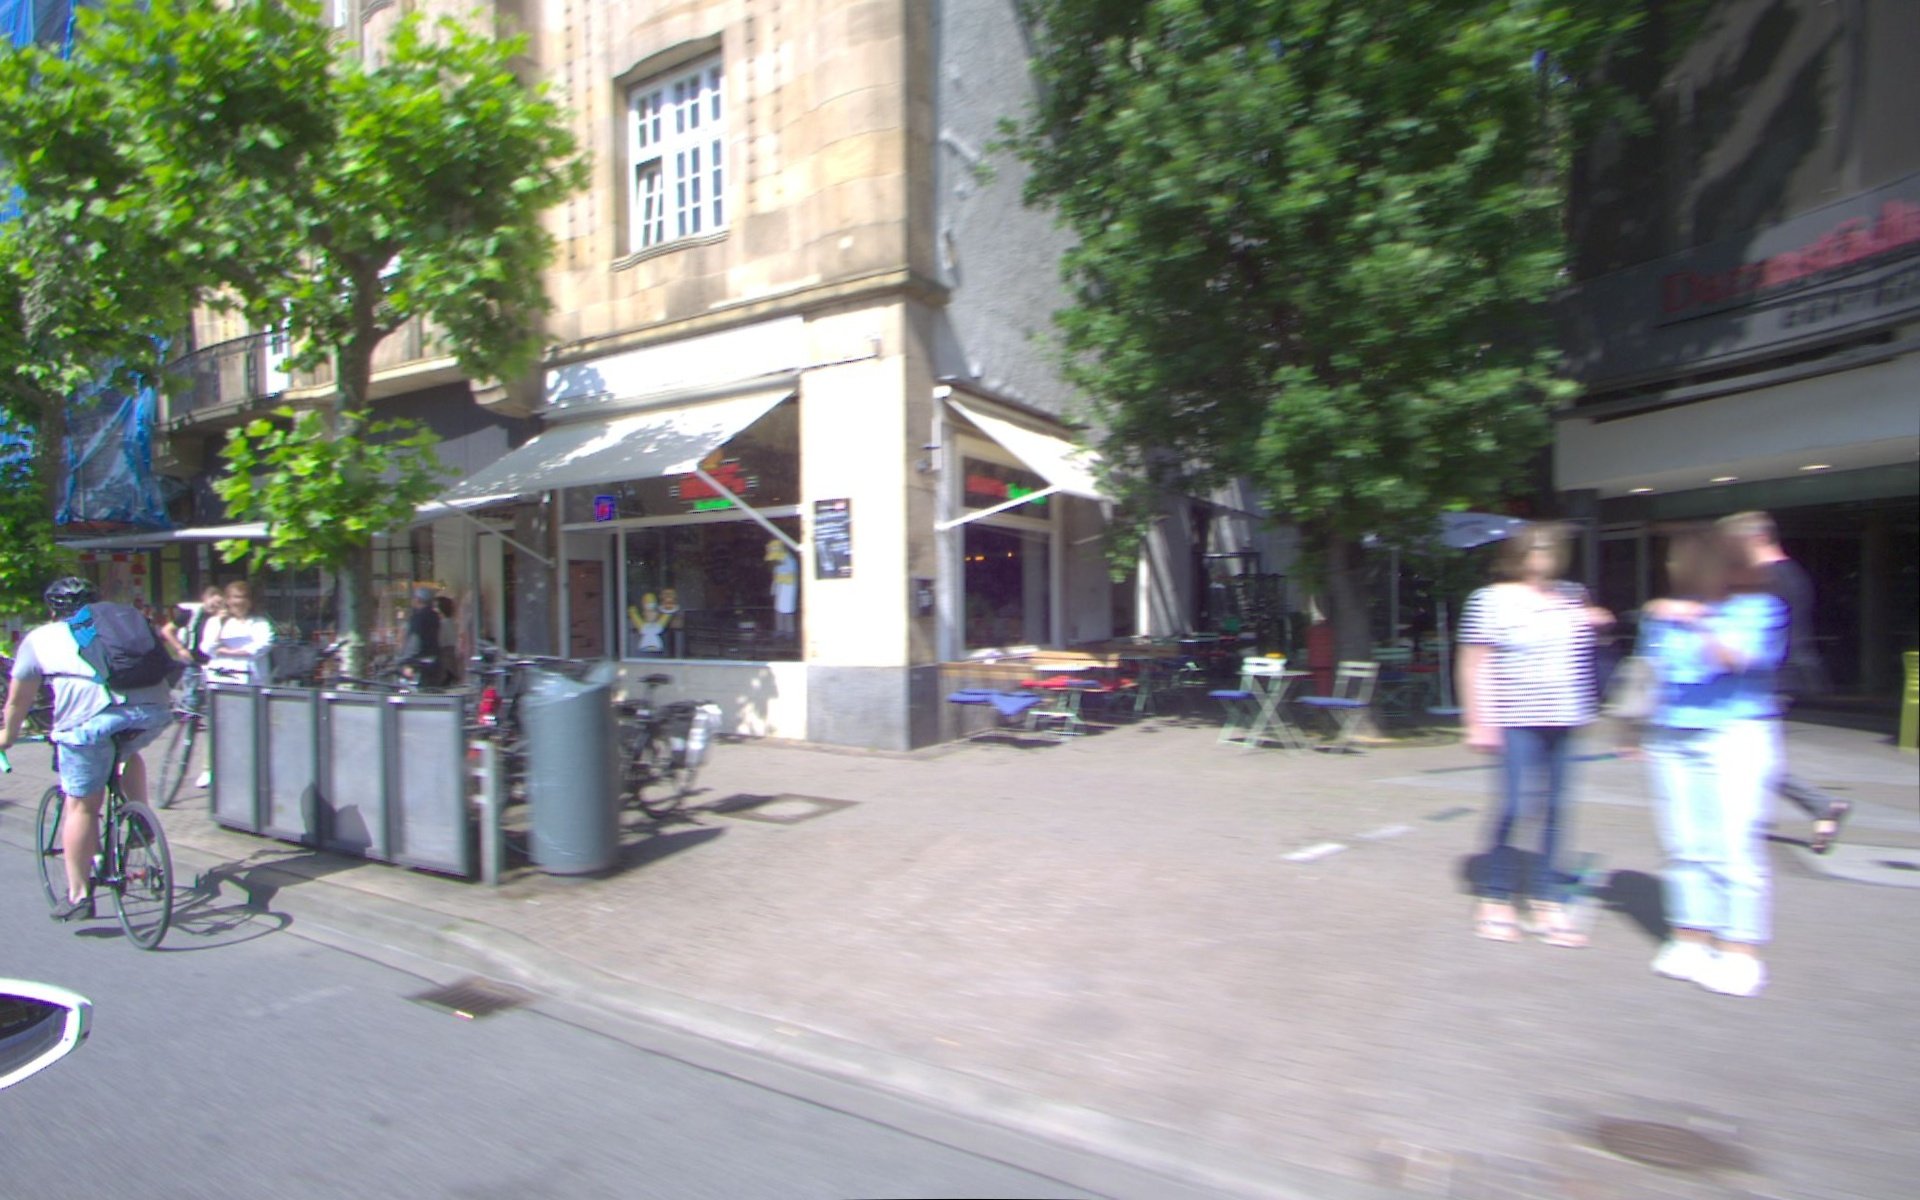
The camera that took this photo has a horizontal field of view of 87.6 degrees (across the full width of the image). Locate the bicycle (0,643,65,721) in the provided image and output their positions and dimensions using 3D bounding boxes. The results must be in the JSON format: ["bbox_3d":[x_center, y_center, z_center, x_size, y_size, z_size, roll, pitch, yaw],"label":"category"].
[{"bbox_3d":[-13.144,1.103,13.354,0.475,1.031,1.751,0,-1,29],"label":"bicycle"}]

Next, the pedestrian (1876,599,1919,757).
[{"bbox_3d":[8.231,0.644,8.269,0.779,1.270,0.639,0,-2,19],"label":"pedestrian"}]

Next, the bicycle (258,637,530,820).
[{"bbox_3d":[-4.189,0.887,7.561,0.570,1.196,1.751,0,-1,30],"label":"bicycle"}]

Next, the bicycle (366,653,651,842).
[{"bbox_3d":[-2.968,0.911,6.774,0.578,1.031,1.750,-1,0,30],"label":"bicycle"}]

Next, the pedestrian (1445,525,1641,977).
[{"bbox_3d":[2.320,0.549,4.039,0.634,1.648,0.598,0,2,28],"label":"pedestrian"}]

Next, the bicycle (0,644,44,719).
[{"bbox_3d":[-13.670,1.128,13.602,0.475,1.031,1.751,0,-1,29],"label":"bicycle"}]

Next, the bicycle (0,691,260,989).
[{"bbox_3d":[-4.377,1.047,4.906,2.099,1.106,0.733,-1,-2,31],"label":"bicycle"}]

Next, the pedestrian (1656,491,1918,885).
[{"bbox_3d":[4.183,0.415,5.148,0.972,1.804,0.665,-1,0,36],"label":"pedestrian"}]

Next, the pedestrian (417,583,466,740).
[{"bbox_3d":[-5.782,0.673,11.163,0.377,1.705,0.473,-2,1,-37],"label":"pedestrian"}]

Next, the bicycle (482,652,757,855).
[{"bbox_3d":[-2.029,0.864,6.219,0.475,1.031,1.751,0,-1,29],"label":"bicycle"}]

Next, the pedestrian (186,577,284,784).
[{"bbox_3d":[-6.290,0.675,8.712,0.650,1.705,0.649,-1,-1,-35],"label":"pedestrian"}]

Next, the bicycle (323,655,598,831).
[{"bbox_3d":[-3.458,0.936,7.106,0.549,1.031,1.751,-1,-1,30],"label":"bicycle"}]

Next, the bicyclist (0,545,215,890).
[{"bbox_3d":[-4.330,0.527,4.896,1.126,1.481,0.688,-1,-2,30],"label":"bicyclist"}]

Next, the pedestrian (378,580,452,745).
[{"bbox_3d":[-5.807,0.651,10.689,0.490,1.705,0.536,-2,1,-10],"label":"pedestrian"}]

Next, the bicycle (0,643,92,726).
[{"bbox_3d":[-12.390,1.094,12.940,0.474,1.031,1.755,0,-1,21],"label":"bicycle"}]

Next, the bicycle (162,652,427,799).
[{"bbox_3d":[-5.345,0.959,8.131,1.736,1.031,0.653,1,-1,-36],"label":"bicycle"}]

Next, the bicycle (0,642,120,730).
[{"bbox_3d":[-11.533,1.048,12.351,0.475,1.031,1.751,0,-1,29],"label":"bicycle"}]

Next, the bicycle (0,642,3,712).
[{"bbox_3d":[-14.861,1.127,14.244,0.475,1.031,1.751,0,-1,29],"label":"bicycle"}]

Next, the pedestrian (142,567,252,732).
[{"bbox_3d":[-9.121,0.567,11.975,0.881,1.873,0.811,-1,1,39],"label":"pedestrian"}]

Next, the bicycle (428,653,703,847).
[{"bbox_3d":[-2.468,0.886,6.484,0.475,1.031,1.751,0,-1,29],"label":"bicycle"}]

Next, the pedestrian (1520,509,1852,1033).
[{"bbox_3d":[2.569,0.536,3.586,0.685,1.648,0.700,-1,1,-20],"label":"pedestrian"}]
